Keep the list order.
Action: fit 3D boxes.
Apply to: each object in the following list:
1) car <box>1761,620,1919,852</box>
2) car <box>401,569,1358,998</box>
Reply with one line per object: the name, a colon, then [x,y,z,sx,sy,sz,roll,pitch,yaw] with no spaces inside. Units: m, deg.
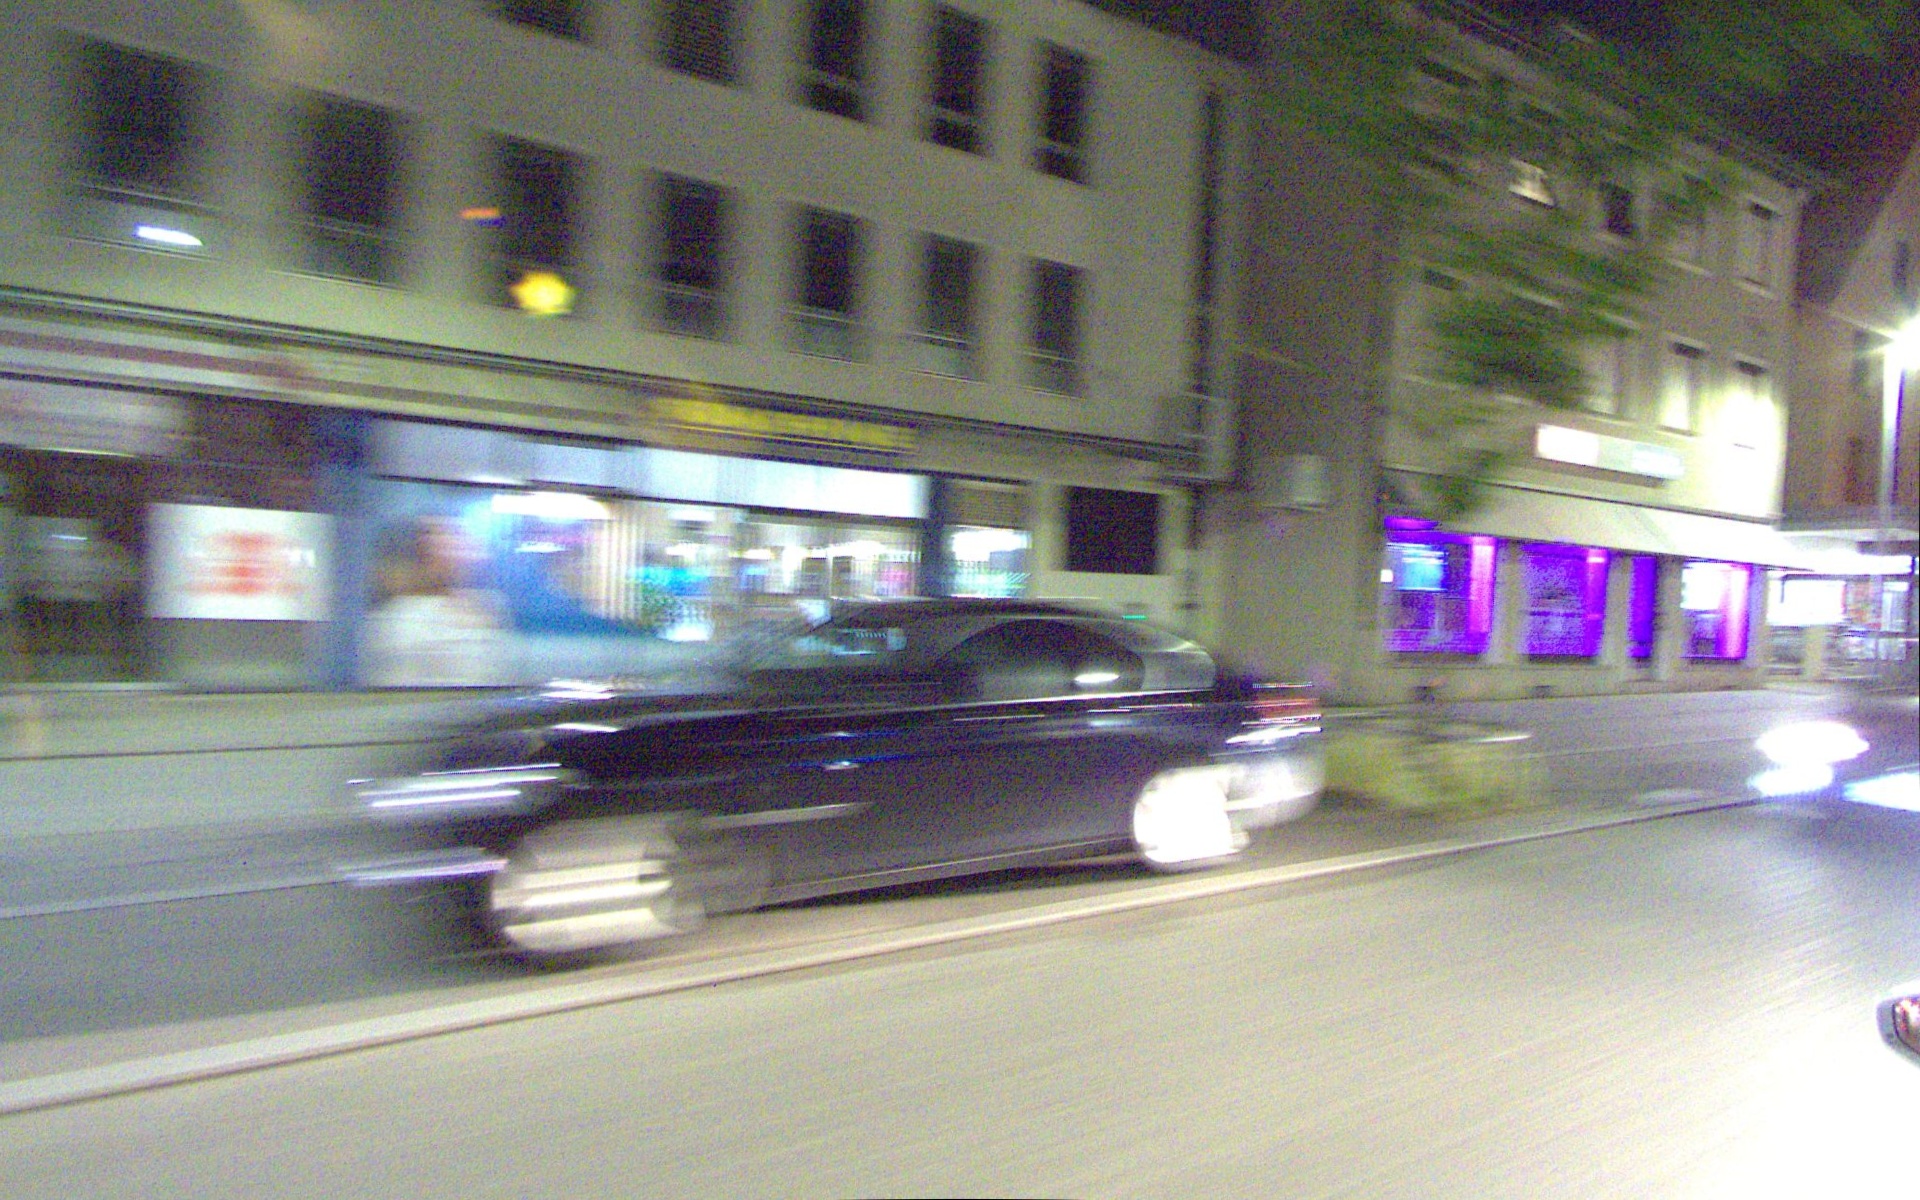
car: [7.728,0.911,7.342,3.771,1.447,1.708,1,0,-31]
car: [-0.234,0.645,5.483,4.874,1.438,1.886,1,2,-31]
